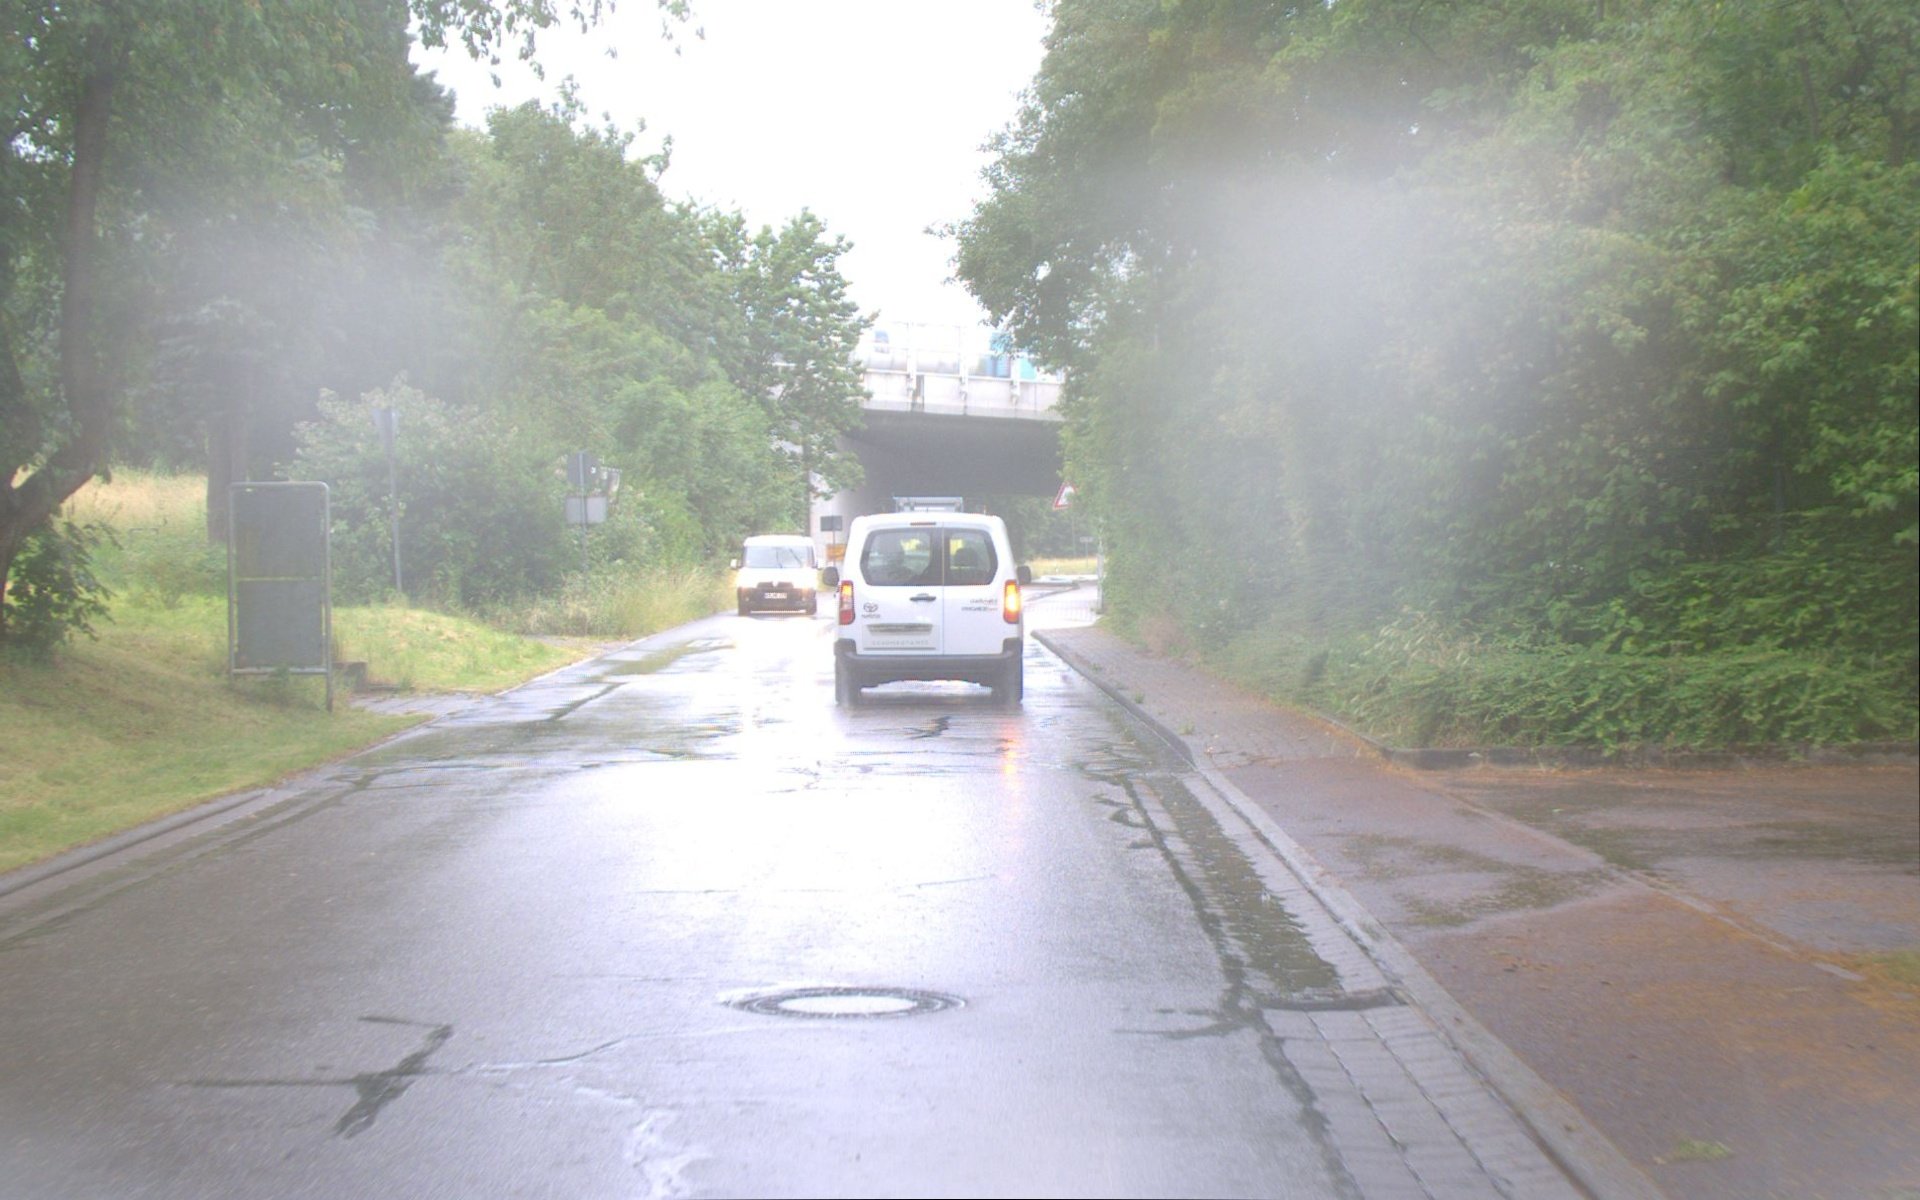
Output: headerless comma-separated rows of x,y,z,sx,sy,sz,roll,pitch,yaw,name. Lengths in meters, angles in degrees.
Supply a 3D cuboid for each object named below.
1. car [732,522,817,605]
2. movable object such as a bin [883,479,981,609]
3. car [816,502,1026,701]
-4.210,-0.837,78.553,1.823,1.825,4.307,0,1,-2,car
-0.533,-1.126,69.468,1.761,2.539,4.239,1,1,2,movable object such as a bin
-0.347,-0.038,33.728,1.896,1.800,4.000,-1,2,0,car
